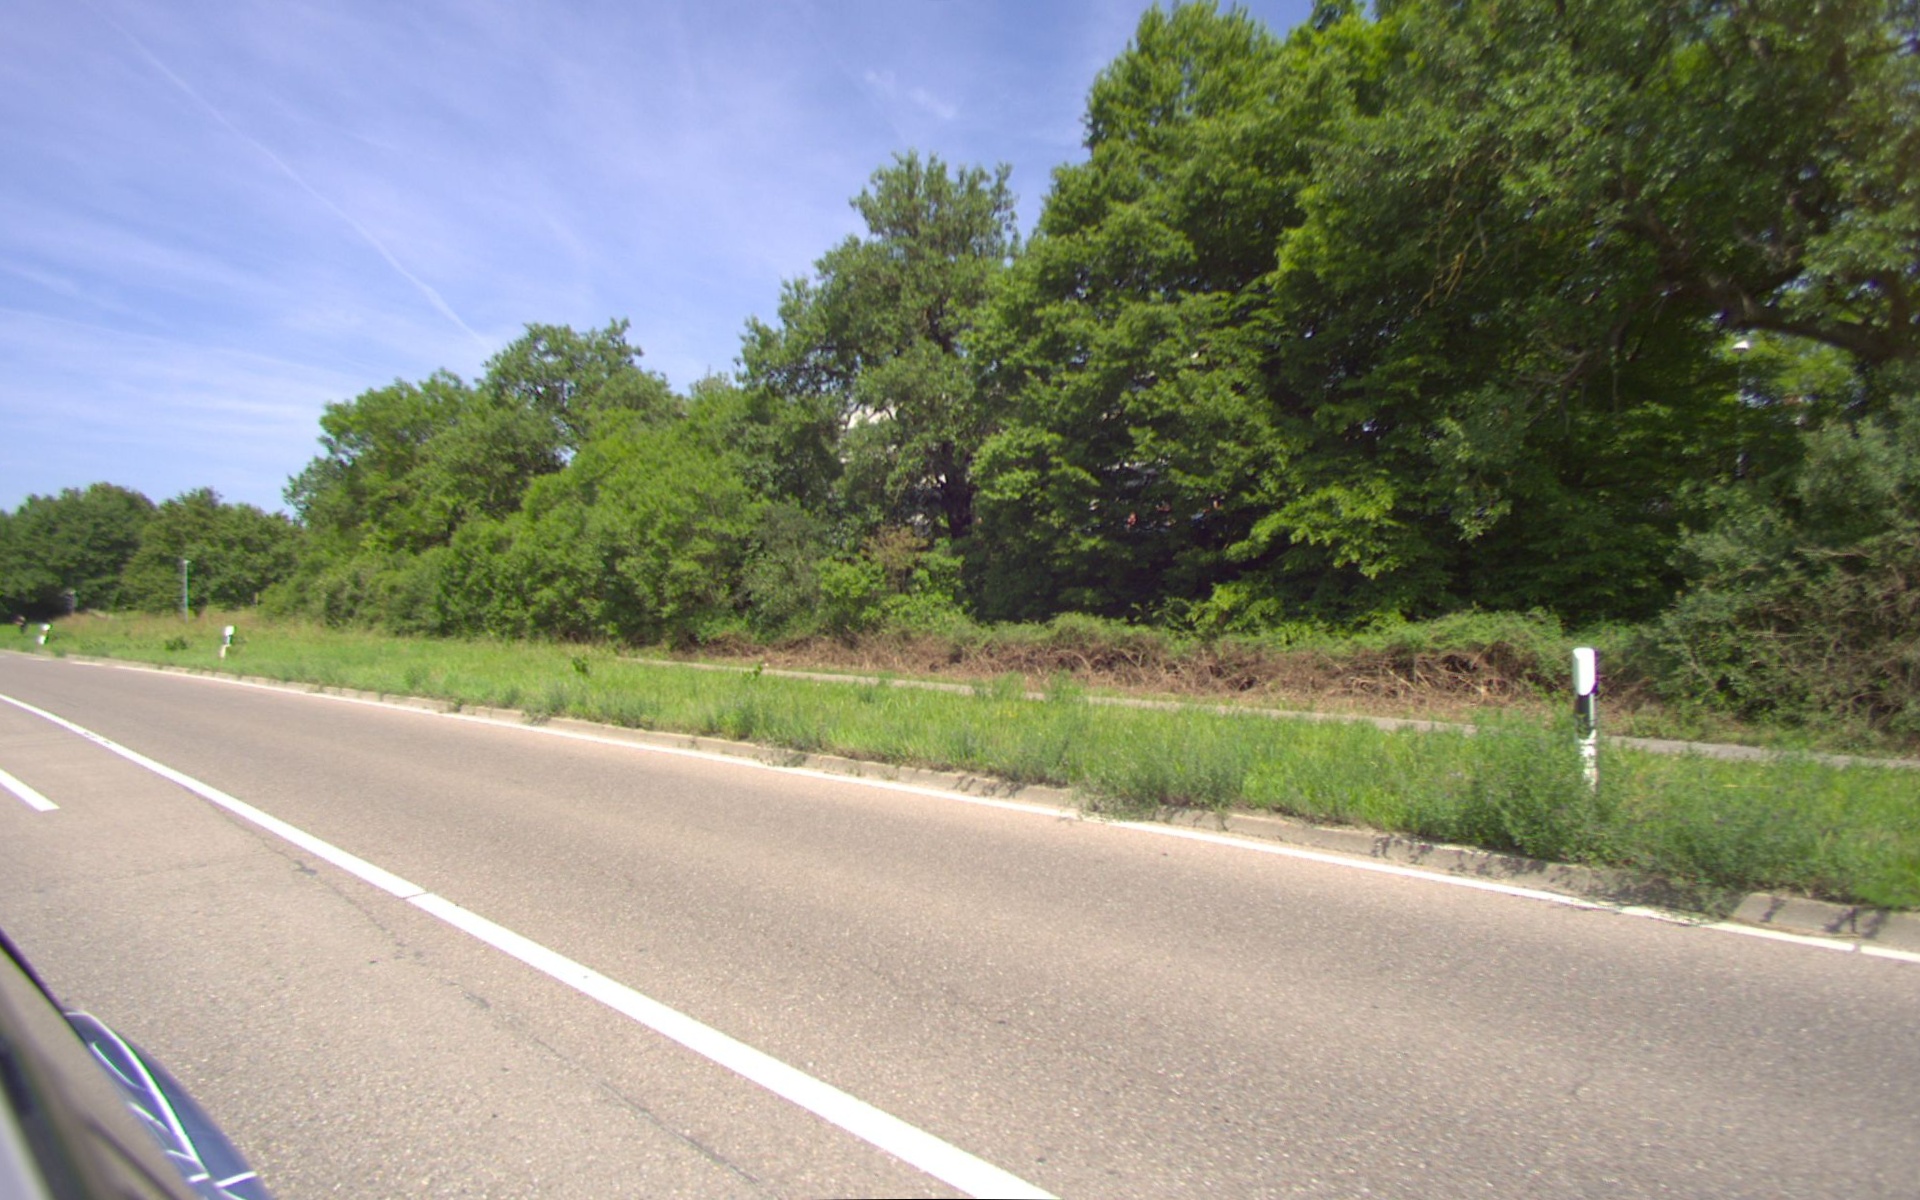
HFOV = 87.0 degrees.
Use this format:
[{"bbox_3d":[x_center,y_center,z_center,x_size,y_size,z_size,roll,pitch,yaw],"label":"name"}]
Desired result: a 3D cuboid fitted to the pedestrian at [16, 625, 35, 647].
[{"bbox_3d":[-74.549,2.868,80.745,0.906,1.749,0.902,-1,0,-26],"label":"pedestrian"}]
